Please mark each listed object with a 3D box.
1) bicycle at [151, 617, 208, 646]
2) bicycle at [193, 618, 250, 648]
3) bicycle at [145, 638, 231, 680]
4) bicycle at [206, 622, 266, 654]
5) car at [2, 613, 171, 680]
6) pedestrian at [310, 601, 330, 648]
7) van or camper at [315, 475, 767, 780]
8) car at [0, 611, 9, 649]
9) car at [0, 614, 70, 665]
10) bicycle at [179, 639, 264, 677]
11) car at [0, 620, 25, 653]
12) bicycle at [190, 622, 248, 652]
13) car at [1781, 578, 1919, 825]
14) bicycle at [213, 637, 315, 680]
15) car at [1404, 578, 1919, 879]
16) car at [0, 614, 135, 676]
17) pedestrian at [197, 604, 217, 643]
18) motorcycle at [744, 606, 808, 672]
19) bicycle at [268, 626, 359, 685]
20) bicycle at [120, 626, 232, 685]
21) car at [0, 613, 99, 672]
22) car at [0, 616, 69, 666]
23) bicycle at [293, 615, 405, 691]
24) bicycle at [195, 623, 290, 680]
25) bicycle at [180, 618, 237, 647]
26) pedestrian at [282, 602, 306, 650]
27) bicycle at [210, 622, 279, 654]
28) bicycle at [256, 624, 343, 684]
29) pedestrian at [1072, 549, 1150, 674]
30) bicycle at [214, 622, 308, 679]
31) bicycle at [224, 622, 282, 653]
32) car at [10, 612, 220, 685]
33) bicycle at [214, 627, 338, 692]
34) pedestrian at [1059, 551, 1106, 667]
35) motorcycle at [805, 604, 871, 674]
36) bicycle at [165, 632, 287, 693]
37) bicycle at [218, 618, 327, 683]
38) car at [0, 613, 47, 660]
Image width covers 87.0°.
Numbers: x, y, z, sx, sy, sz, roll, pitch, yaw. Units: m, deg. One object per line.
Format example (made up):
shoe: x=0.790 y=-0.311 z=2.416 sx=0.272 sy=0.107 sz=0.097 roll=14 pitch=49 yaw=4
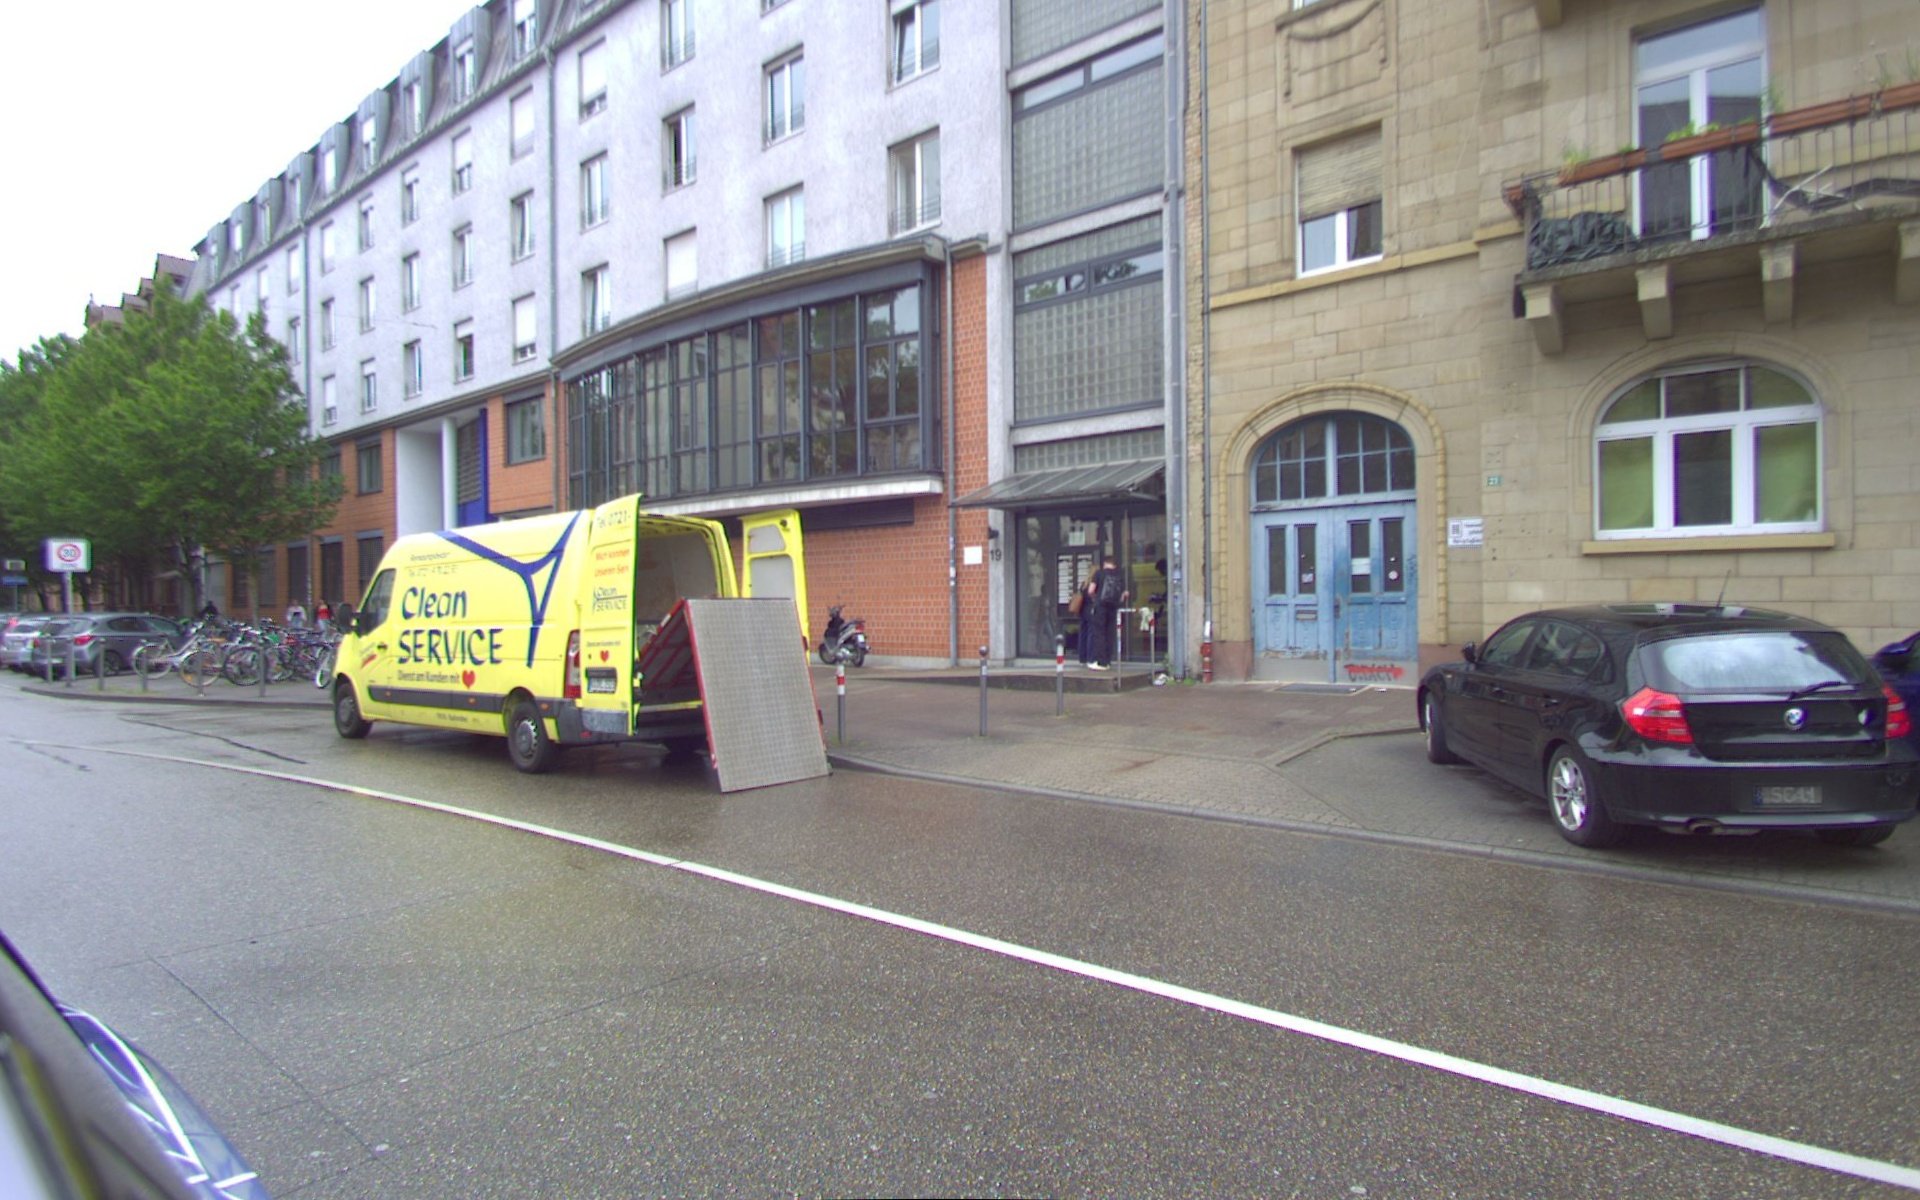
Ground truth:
bicycle: x=-28.545 y=1.142 z=37.031 sx=0.464 sy=0.992 sz=1.573 roll=-1 pitch=-1 yaw=32
bicycle: x=-25.638 y=1.135 z=35.148 sx=0.444 sy=0.992 sz=1.573 roll=-1 pitch=-1 yaw=32
bicycle: x=-17.148 y=1.289 z=22.496 sx=0.497 sy=0.811 sz=1.454 roll=-1 pitch=1 yaw=43
bicycle: x=-23.842 y=1.242 z=33.340 sx=0.444 sy=0.992 sz=1.573 roll=-1 pitch=-1 yaw=32
car: x=-22.166 y=1.138 z=25.810 sx=1.436 sy=1.514 sz=3.070 roll=-1 pitch=0 yaw=9
pedestrian: x=-22.026 y=0.838 z=34.828 sx=0.425 sy=1.622 sz=0.508 roll=-1 pitch=-1 yaw=41
van or camper: x=-4.961 y=0.293 z=11.441 sx=5.936 sy=2.631 sz=2.174 roll=-1 pitch=-2 yaw=39
car: x=-48.734 y=1.457 z=48.839 sx=1.666 sy=1.910 sz=4.330 roll=0 pitch=-1 yaw=-1
car: x=-30.962 y=1.278 z=32.792 sx=1.358 sy=1.567 sz=2.971 roll=-1 pitch=0 yaw=11
bicycle: x=-16.367 y=1.282 z=22.452 sx=0.497 sy=0.727 sz=1.454 roll=-1 pitch=1 yaw=43
car: x=-43.519 y=1.618 z=44.553 sx=1.662 sy=1.502 sz=3.799 roll=0 pitch=-1 yaw=-10
bicycle: x=-25.300 y=1.245 z=34.581 sx=0.444 sy=0.992 sz=1.573 roll=-1 pitch=-1 yaw=32
car: x=6.906 y=0.637 z=5.731 sx=1.780 sy=1.585 sz=4.029 roll=-1 pitch=-1 yaw=11
bicycle: x=-14.518 y=1.212 z=21.167 sx=0.455 sy=0.767 sz=1.757 roll=-1 pitch=1 yaw=27
car: x=4.728 y=0.676 z=7.183 sx=1.777 sy=1.523 sz=4.034 roll=0 pitch=-1 yaw=7
car: x=-24.266 y=1.180 z=27.363 sx=1.432 sy=1.514 sz=3.078 roll=-1 pitch=0 yaw=0
pedestrian: x=-31.307 y=0.965 z=42.090 sx=0.533 sy=1.609 sz=0.564 roll=-1 pitch=-1 yaw=41
motorcycle: x=-3.541 y=0.718 z=19.314 sx=0.516 sy=1.190 sz=2.010 roll=-1 pitch=0 yaw=-30
bicycle: x=-12.692 y=1.070 z=19.894 sx=0.418 sy=1.072 sz=1.442 roll=-1 pitch=1 yaw=44
bicycle: x=-16.608 y=1.152 z=21.483 sx=0.472 sy=1.114 sz=1.791 roll=-1 pitch=1 yaw=35
car: x=-26.683 y=1.184 z=28.967 sx=1.432 sy=1.564 sz=3.078 roll=-1 pitch=0 yaw=0
car: x=-29.090 y=1.247 z=31.123 sx=1.177 sy=1.461 sz=2.502 roll=-1 pitch=0 yaw=0
bicycle: x=-11.231 y=0.942 z=18.695 sx=0.760 sy=1.225 sz=1.917 roll=0 pitch=3 yaw=5
bicycle: x=-15.551 y=1.095 z=21.967 sx=0.519 sy=1.114 sz=1.591 roll=-1 pitch=1 yaw=35
bicycle: x=-26.595 y=1.137 z=35.818 sx=0.464 sy=0.992 sz=1.573 roll=-1 pitch=-1 yaw=32
pedestrian: x=-22.782 y=0.870 z=34.606 sx=0.372 sy=1.622 sz=0.598 roll=-1 pitch=-1 yaw=39
bicycle: x=-23.402 y=1.242 z=33.129 sx=0.444 sy=0.992 sz=1.831 roll=-1 pitch=-1 yaw=32
bicycle: x=-13.292 y=1.064 z=20.385 sx=1.439 sy=1.111 sz=0.462 roll=-2 pitch=1 yaw=-36
pedestrian: x=2.207 y=0.161 z=14.737 sx=0.785 sy=1.741 sz=0.998 roll=-1 pitch=-1 yaw=31
bicycle: x=-14.951 y=1.058 z=21.681 sx=0.517 sy=1.114 sz=1.596 roll=-1 pitch=1 yaw=27
bicycle: x=-23.860 y=1.252 z=34.166 sx=0.444 sy=0.992 sz=1.573 roll=-1 pitch=-1 yaw=32
car: x=-19.867 y=1.081 z=24.002 sx=1.720 sy=1.514 sz=3.614 roll=0 pitch=0 yaw=9
bicycle: x=-12.805 y=1.090 z=18.972 sx=1.832 sy=1.081 sz=0.610 roll=-2 pitch=1 yaw=-45
pedestrian: x=1.899 y=0.139 z=15.672 sx=0.467 sy=1.761 sz=0.608 roll=0 pitch=-1 yaw=-24
motorcycle: x=-2.252 y=0.687 z=18.479 sx=0.516 sy=1.190 sz=1.763 roll=-1 pitch=0 yaw=-30
bicycle: x=-13.807 y=1.152 z=19.077 sx=0.519 sy=1.000 sz=1.778 roll=-1 pitch=1 yaw=38
bicycle: x=-14.080 y=1.006 z=20.780 sx=0.517 sy=1.203 sz=1.798 roll=-1 pitch=1 yaw=27
car: x=-33.073 y=1.264 z=34.564 sx=1.138 sy=1.567 sz=2.672 roll=-1 pitch=0 yaw=11
